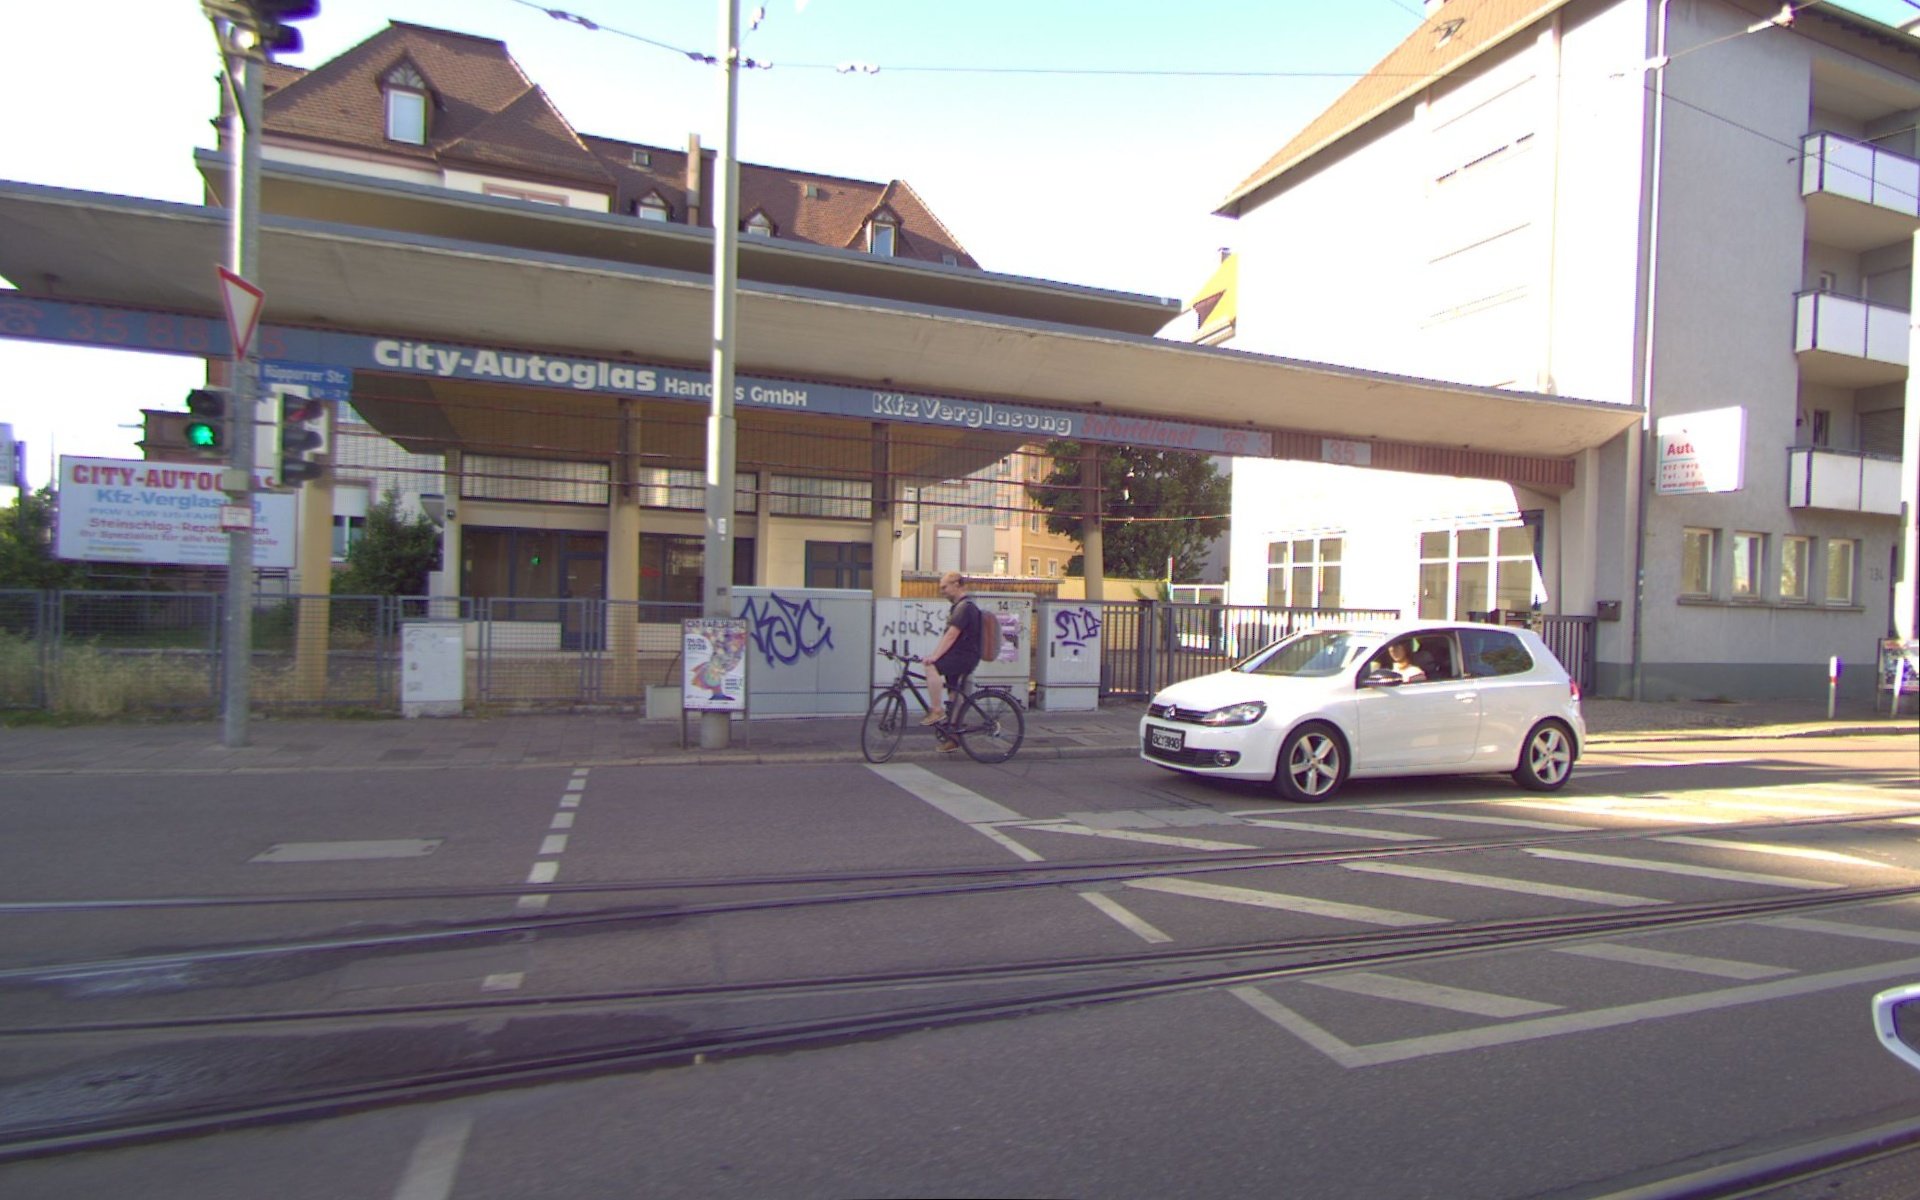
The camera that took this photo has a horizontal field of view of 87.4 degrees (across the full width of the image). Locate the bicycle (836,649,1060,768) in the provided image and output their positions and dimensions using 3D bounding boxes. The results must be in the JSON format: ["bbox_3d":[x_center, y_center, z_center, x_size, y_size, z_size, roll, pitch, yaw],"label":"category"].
[{"bbox_3d":[-0.113,1.018,9.698,2.017,1.031,0.724,2,0,-20],"label":"bicycle"}]

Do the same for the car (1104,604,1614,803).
[{"bbox_3d":[3.562,0.839,9.040,4.126,1.477,1.788,2,-1,-20],"label":"car"}]

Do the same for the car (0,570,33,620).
[{"bbox_3d":[-30.589,-0.178,30.693,1.925,1.549,4.068,2,0,-22],"label":"car"}]

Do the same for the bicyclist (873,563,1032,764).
[{"bbox_3d":[-0.083,0.584,9.704,1.236,1.811,0.905,1,0,-25],"label":"bicyclist"}]
